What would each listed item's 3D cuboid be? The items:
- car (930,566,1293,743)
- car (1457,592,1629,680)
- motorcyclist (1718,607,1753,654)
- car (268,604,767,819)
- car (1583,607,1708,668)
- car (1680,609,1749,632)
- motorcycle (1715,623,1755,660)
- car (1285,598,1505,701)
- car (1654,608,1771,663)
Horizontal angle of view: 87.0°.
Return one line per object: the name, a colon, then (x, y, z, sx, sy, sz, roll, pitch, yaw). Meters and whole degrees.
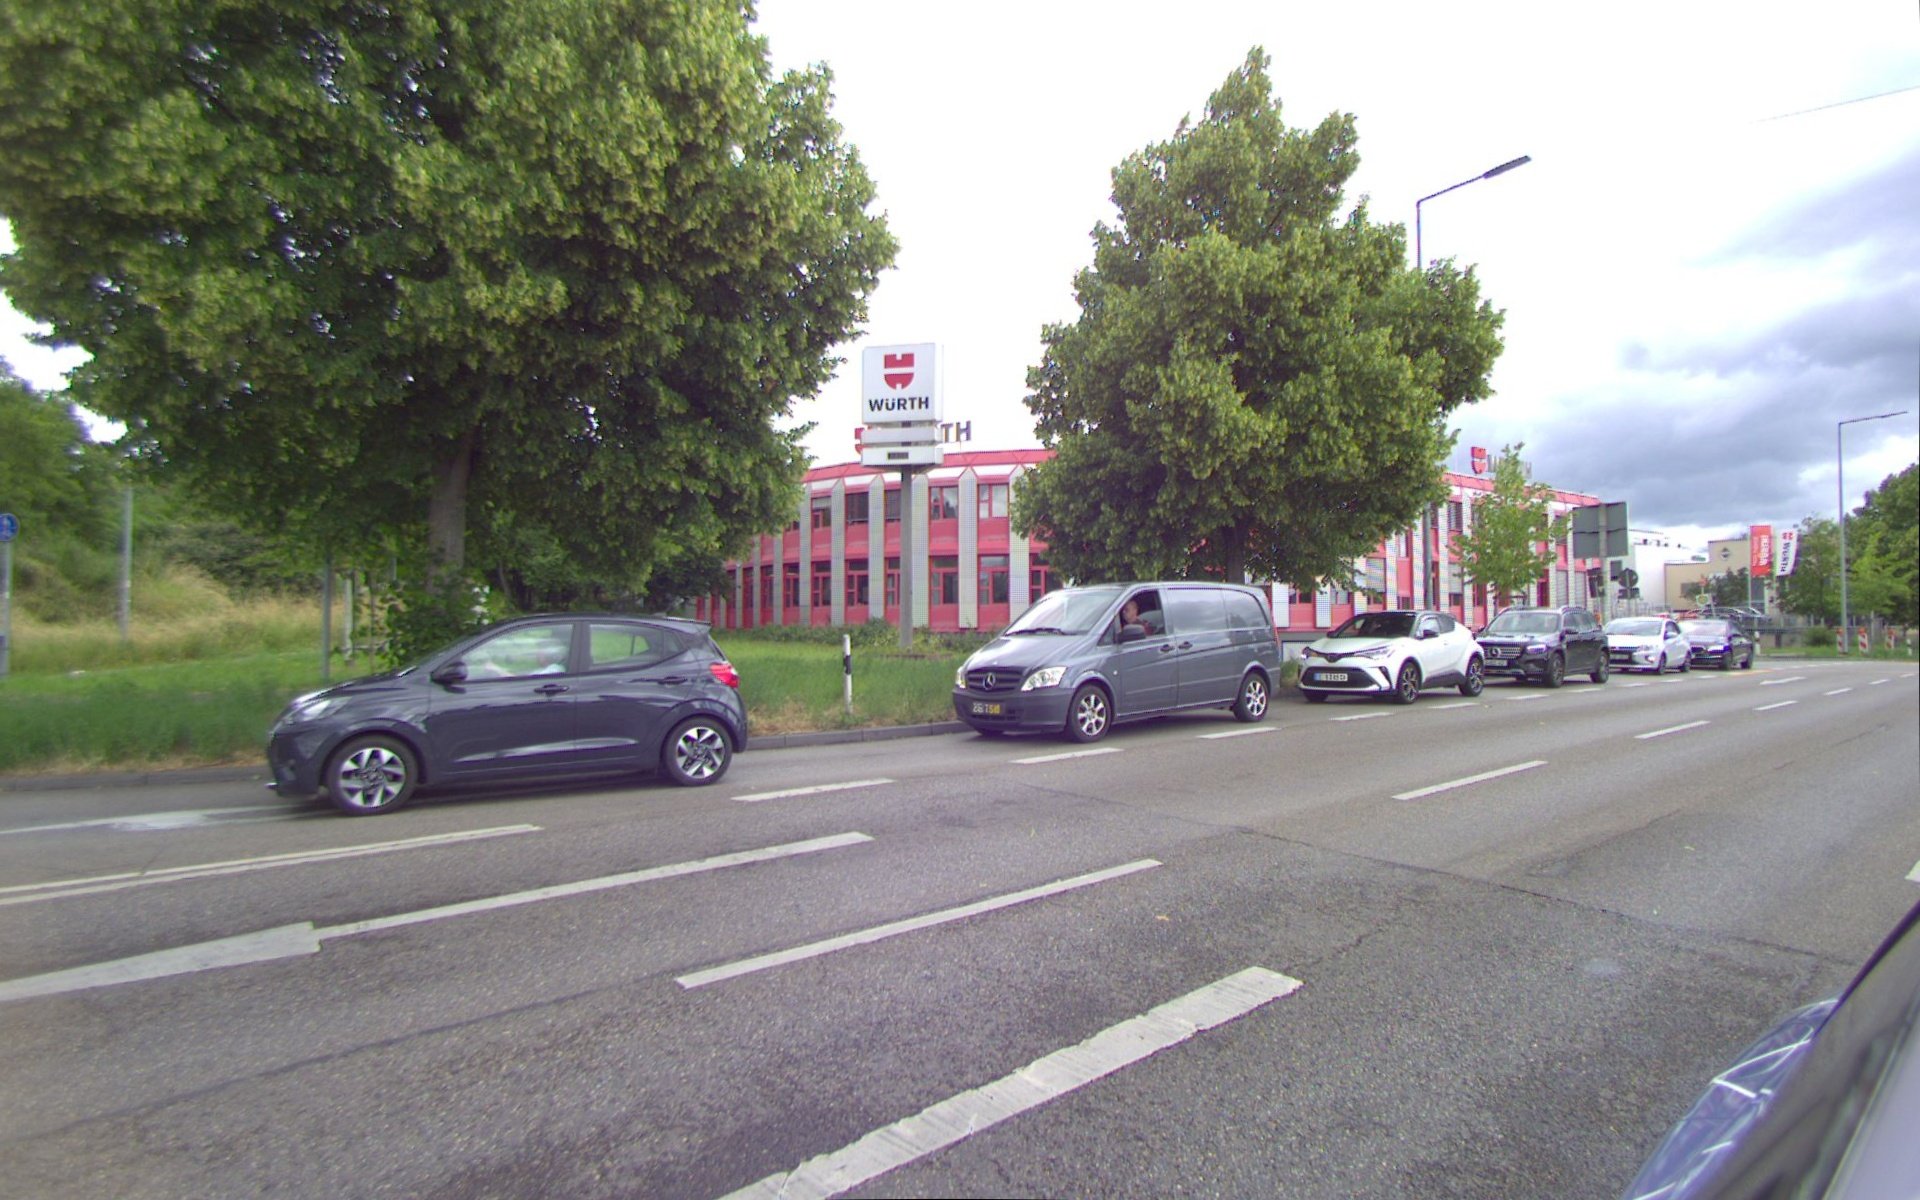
car: (2.049, 0.622, 12.882, 4.636, 1.858, 1.919, 0, -3, -39)
car: (12.480, 0.761, 21.561, 4.346, 1.671, 1.784, 3, -1, -40)
motorcyclist: (25.240, 1.002, 32.950, 0.918, 1.510, 0.748, 2, -3, -44)
car: (-3.603, 0.807, 8.540, 3.542, 1.449, 1.626, 0, -3, -29)
car: (18.189, 0.999, 26.809, 3.766, 1.461, 1.784, 3, -1, -40)
car: (61.813, 1.695, 82.950, 1.752, 1.776, 4.247, 0, 0, -39)
motorcycle: (25.165, 1.330, 32.862, 1.911, 1.162, 0.748, 2, -3, -45)
car: (7.561, 0.799, 17.415, 4.230, 1.555, 1.783, 0, -3, -41)
car: (22.217, 1.062, 29.808, 4.446, 1.464, 1.784, 3, -1, -40)
